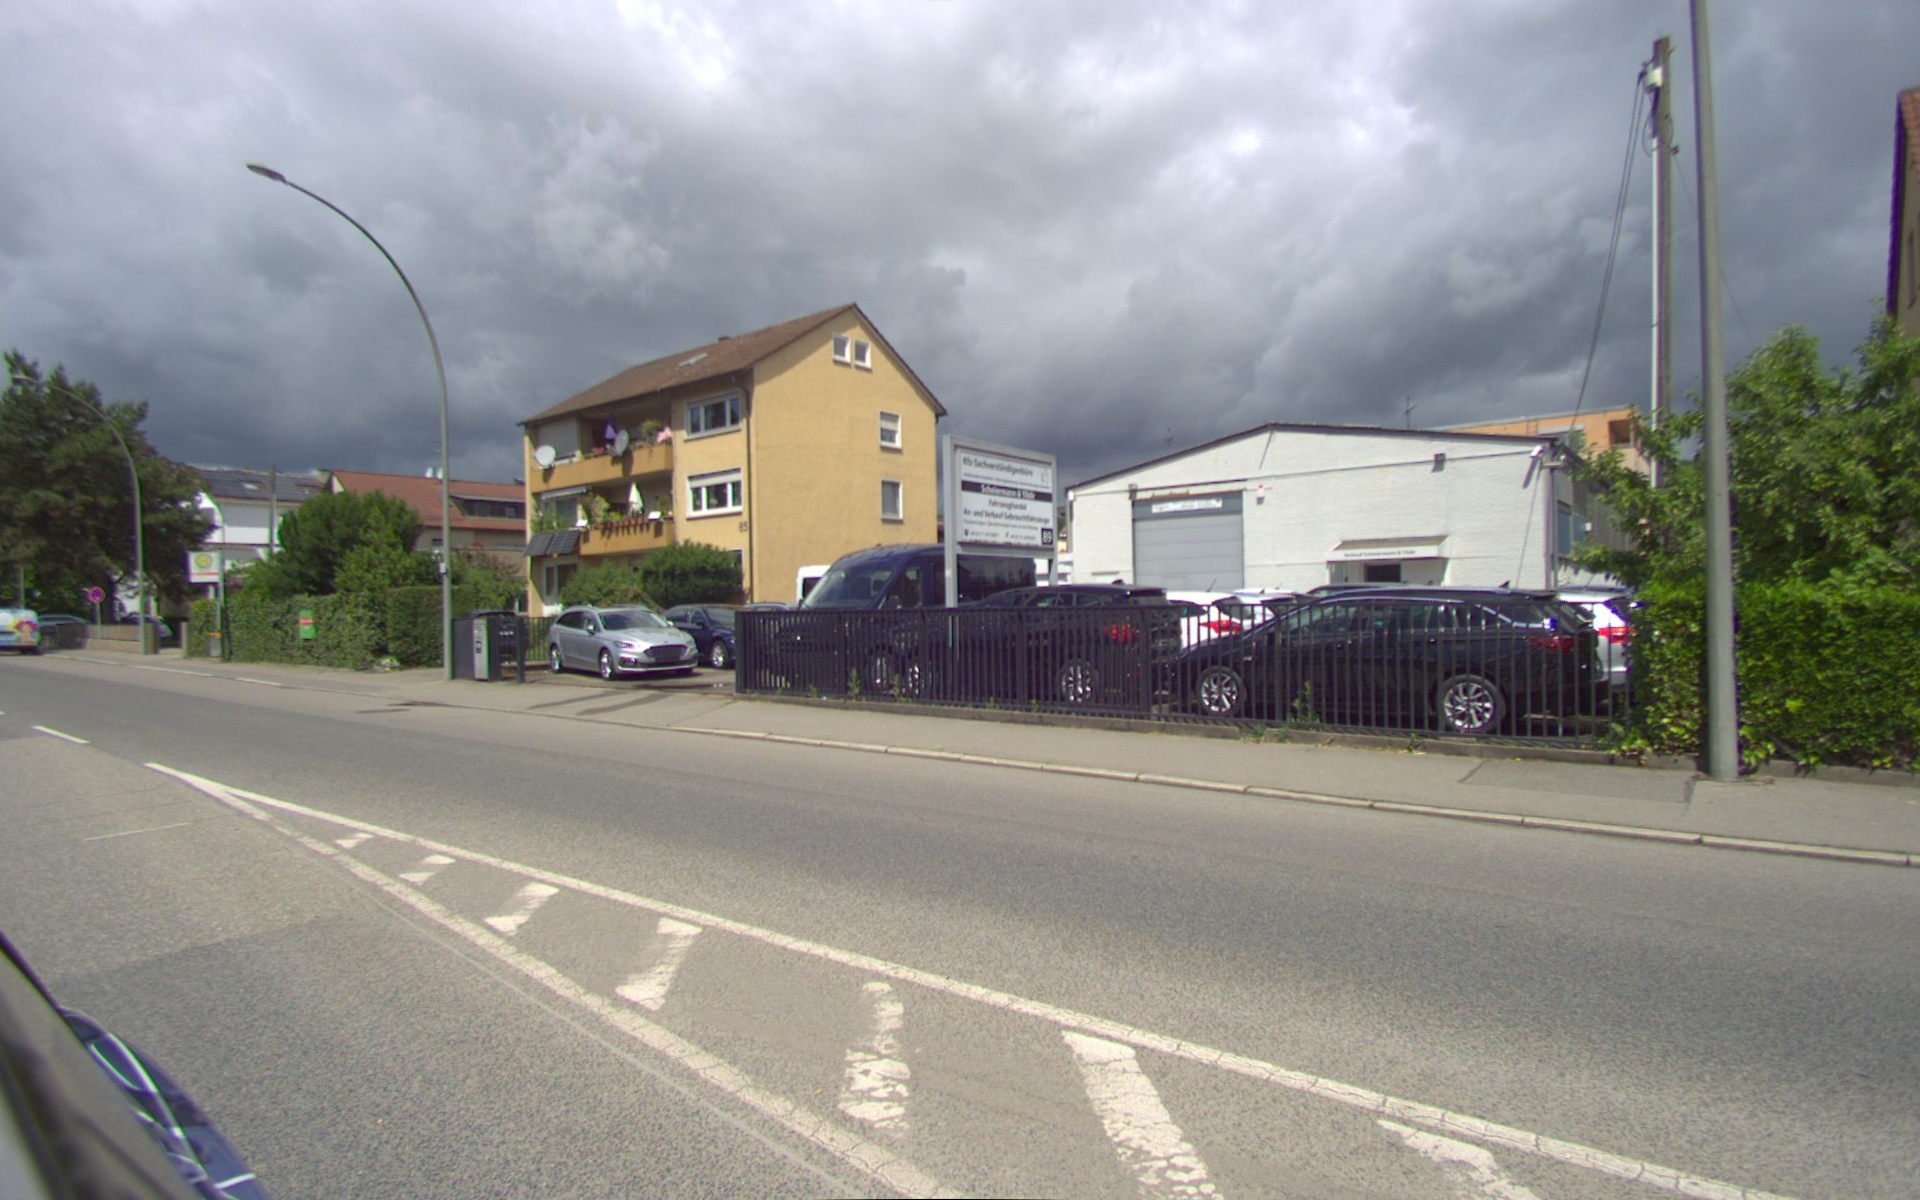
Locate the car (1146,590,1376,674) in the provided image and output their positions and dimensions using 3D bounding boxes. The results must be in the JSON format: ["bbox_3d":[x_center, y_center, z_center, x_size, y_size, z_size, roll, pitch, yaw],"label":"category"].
[{"bbox_3d":[5.878,0.576,19.985,3.998,1.498,1.742,-1,0,41],"label":"car"}]

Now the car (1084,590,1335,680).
[{"bbox_3d":[4.353,0.571,17.991,3.998,1.423,1.716,-1,0,41],"label":"car"}]

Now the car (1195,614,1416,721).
[{"bbox_3d":[7.297,1.323,21.562,3.998,2.029,1.973,-1,0,41],"label":"car"}]

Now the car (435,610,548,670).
[{"bbox_3d":[-14.077,1.150,30.379,3.520,1.678,1.807,-1,0,41],"label":"car"}]

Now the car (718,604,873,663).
[{"bbox_3d":[-4.319,0.821,26.291,3.998,1.383,1.859,-1,0,41],"label":"car"}]

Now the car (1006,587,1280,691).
[{"bbox_3d":[2.870,0.568,16.317,3.998,1.470,1.795,-1,0,41],"label":"car"}]

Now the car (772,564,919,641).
[{"bbox_3d":[-3.295,0.068,28.723,3.998,2.029,1.973,-1,0,41],"label":"car"}]

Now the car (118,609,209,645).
[{"bbox_3d":[-46.364,1.565,58.940,3.954,2.029,1.995,-1,0,9],"label":"car"}]

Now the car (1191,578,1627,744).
[{"bbox_3d":[4.809,0.562,11.126,4.040,1.494,1.840,-1,0,40],"label":"car"}]

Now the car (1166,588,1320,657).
[{"bbox_3d":[8.457,0.647,30.426,3.998,1.941,1.973,-1,0,41],"label":"car"}]

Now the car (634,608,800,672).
[{"bbox_3d":[-5.787,0.883,23.893,3.998,1.352,1.861,-1,0,41],"label":"car"}]

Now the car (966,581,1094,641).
[{"bbox_3d":[2.371,0.372,34.627,3.998,1.941,1.973,-1,0,41],"label":"car"}]

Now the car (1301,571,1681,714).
[{"bbox_3d":[6.744,0.476,13.061,3.998,1.552,1.973,-1,0,41],"label":"car"}]

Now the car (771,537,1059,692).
[{"bbox_3d":[-0.640,0.210,18.358,2.104,2.402,5.293,-1,0,42],"label":"car"}]

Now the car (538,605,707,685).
[{"bbox_3d":[-7.276,0.887,21.573,1.861,1.470,4.356,-2,1,-41],"label":"car"}]

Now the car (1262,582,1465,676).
[{"bbox_3d":[9.386,0.630,23.700,3.998,2.029,1.973,-1,0,41],"label":"car"}]

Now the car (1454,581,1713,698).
[{"bbox_3d":[11.967,0.691,19.540,3.998,2.029,1.973,-1,0,41],"label":"car"}]

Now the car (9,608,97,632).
[{"bbox_3d":[-68.432,1.518,76.417,2.216,1.691,4.676,-1,0,39],"label":"car"}]

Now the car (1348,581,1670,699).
[{"bbox_3d":[8.285,0.535,15.447,3.998,1.560,1.973,-1,0,41],"label":"car"}]

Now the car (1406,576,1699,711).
[{"bbox_3d":[10.011,0.659,17.238,3.998,2.029,1.973,-1,0,41],"label":"car"}]

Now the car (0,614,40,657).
[{"bbox_3d":[-39.243,1.440,41.433,3.995,1.693,1.708,-1,0,39],"label":"car"}]

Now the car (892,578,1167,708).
[{"bbox_3d":[0.930,0.547,14.601,3.619,1.633,1.790,-1,0,41],"label":"car"}]
